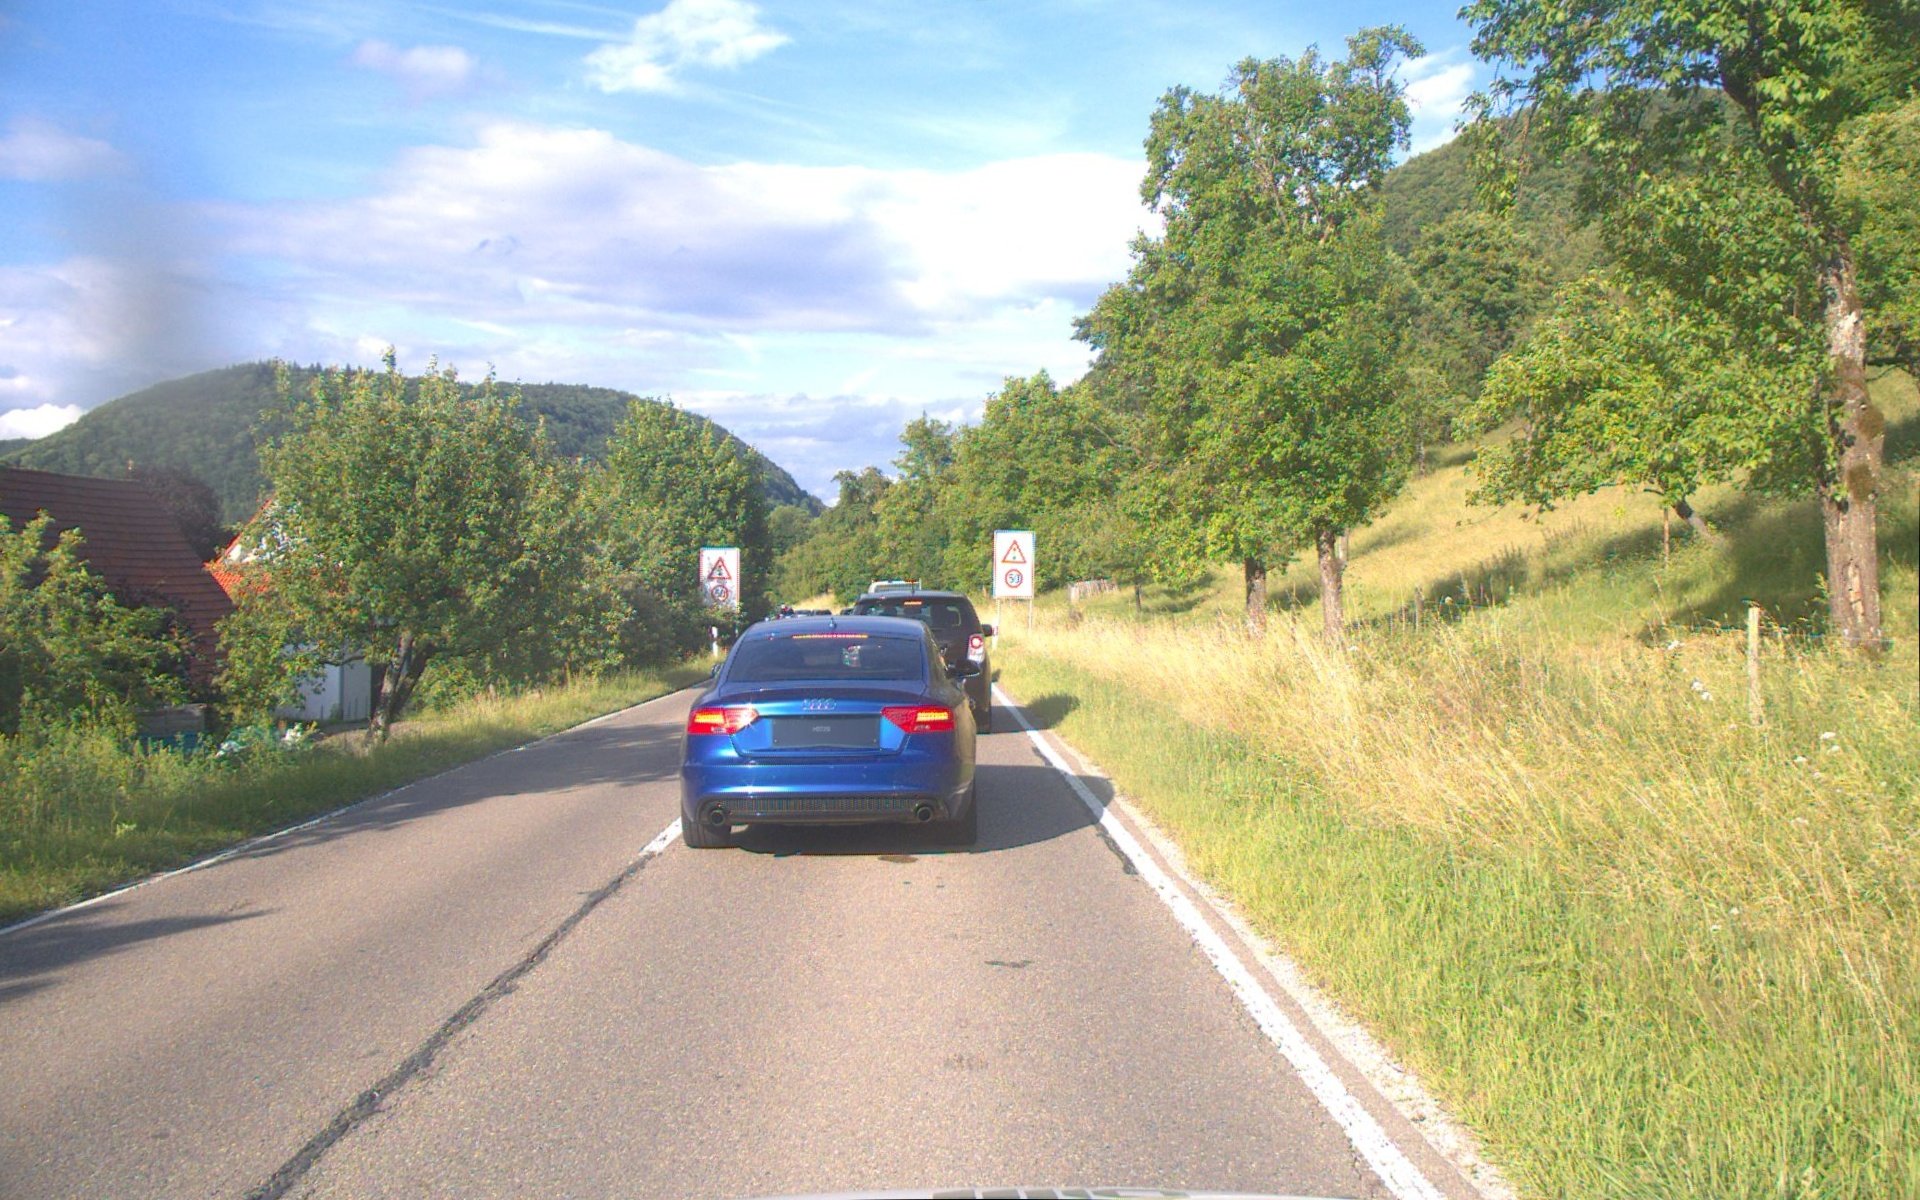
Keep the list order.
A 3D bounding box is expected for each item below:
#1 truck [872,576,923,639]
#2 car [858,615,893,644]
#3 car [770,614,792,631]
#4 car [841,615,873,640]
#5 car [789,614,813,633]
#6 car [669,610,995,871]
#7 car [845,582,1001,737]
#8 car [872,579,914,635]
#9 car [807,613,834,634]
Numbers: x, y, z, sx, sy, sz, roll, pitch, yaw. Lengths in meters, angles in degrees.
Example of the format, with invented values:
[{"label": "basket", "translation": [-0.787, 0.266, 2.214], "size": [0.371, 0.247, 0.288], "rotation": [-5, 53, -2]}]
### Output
[{"label": "truck", "translation": [-2.559, 0.299, 67.584], "size": [1.911, 2.386, 5.091], "rotation": [2, 0, -2]}, {"label": "car", "translation": [-4.925, 1.690, 95.714], "size": [1.715, 1.522, 3.772], "rotation": [2, 0, -7]}, {"label": "car", "translation": [-16.667, 2.089, 154.072], "size": [1.532, 1.522, 3.765], "rotation": [2, 0, -14]}, {"label": "car", "translation": [-6.931, 1.834, 111.371], "size": [1.716, 1.522, 3.769], "rotation": [2, 0, -10]}, {"label": "car", "translation": [-13.766, 2.032, 143.128], "size": [1.532, 1.522, 3.766], "rotation": [2, 0, -13]}, {"label": "car", "translation": [-0.736, 0.777, 11.147], "size": [1.769, 1.406, 4.213], "rotation": [-1, 0, -1]}, {"label": "car", "translation": [-0.446, 0.633, 19.769], "size": [1.658, 1.652, 3.788], "rotation": [1, 0, -2]}, {"label": "car", "translation": [-3.153, 0.308, 77.100], "size": [1.757, 2.496, 3.916], "rotation": [2, 0, -4]}, {"label": "car", "translation": [-11.178, 1.879, 132.427], "size": [1.717, 1.522, 3.767], "rotation": [2, 0, -12]}]
